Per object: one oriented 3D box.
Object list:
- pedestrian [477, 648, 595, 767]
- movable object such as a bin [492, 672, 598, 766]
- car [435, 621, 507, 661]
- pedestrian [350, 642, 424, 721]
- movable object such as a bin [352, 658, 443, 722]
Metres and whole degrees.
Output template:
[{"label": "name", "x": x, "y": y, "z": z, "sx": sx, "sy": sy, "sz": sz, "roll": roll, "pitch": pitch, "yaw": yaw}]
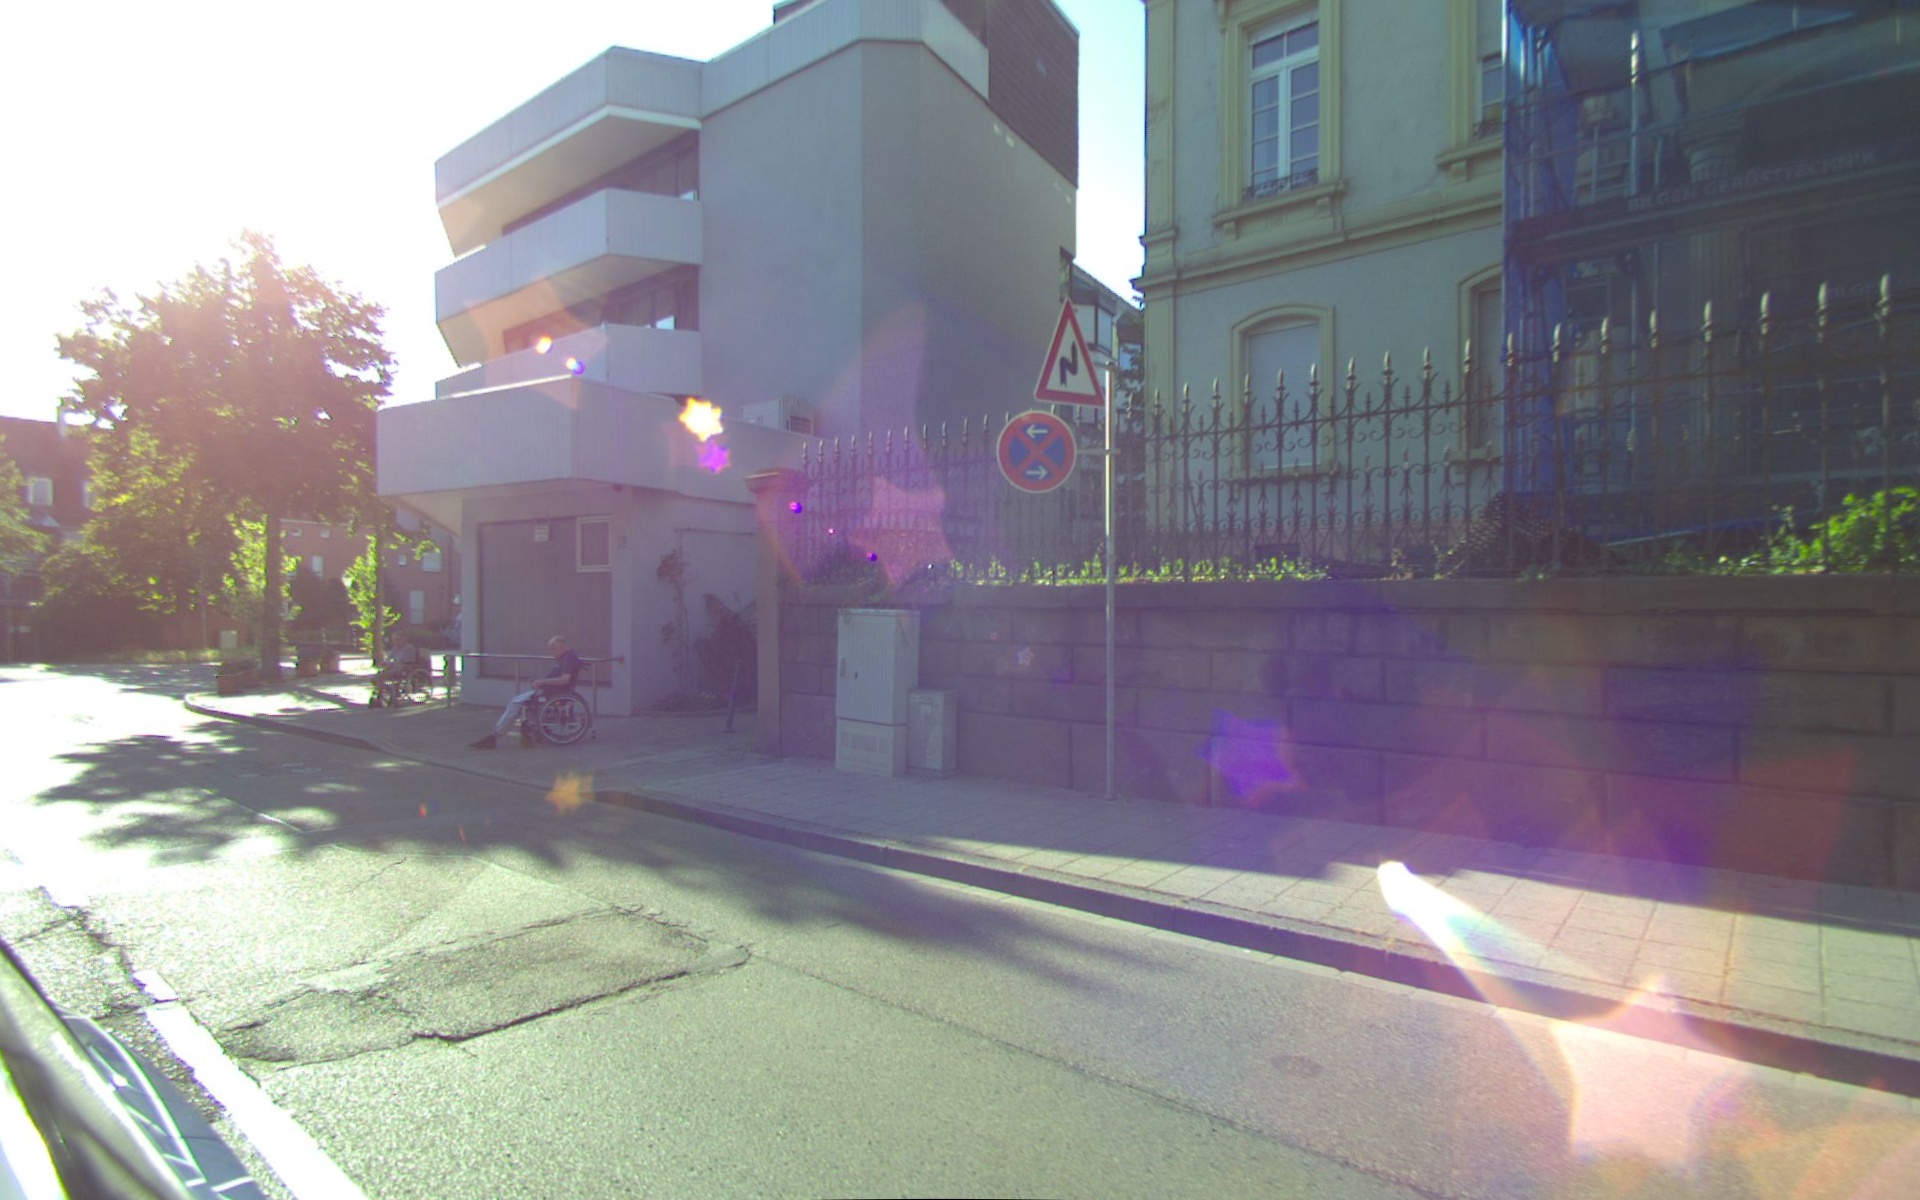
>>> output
[{"label": "pedestrian", "x": -4.956, "y": 1.229, "z": 11.897, "sx": 1.139, "sy": 1.238, "sz": 0.843, "roll": -2, "pitch": 1, "yaw": -15}, {"label": "movable object such as a bin", "x": -4.858, "y": 1.375, "z": 11.917, "sx": 1.020, "sy": 0.935, "sz": 0.843, "roll": -2, "pitch": 1, "yaw": -15}, {"label": "car", "x": -30.985, "y": 2.562, "z": 64.159, "sx": 4.186, "sy": 2.376, "sz": 1.983, "roll": 0, "pitch": 1, "yaw": 26}, {"label": "pedestrian", "x": -9.401, "y": 1.322, "z": 16.602, "sx": 0.838, "sy": 1.194, "sz": 0.734, "roll": -1, "pitch": 1, "yaw": 34}, {"label": "movable object such as a bin", "x": -9.297, "y": 1.468, "z": 16.740, "sx": 0.838, "sy": 0.935, "sz": 1.026, "roll": -1, "pitch": 1, "yaw": 34}]
